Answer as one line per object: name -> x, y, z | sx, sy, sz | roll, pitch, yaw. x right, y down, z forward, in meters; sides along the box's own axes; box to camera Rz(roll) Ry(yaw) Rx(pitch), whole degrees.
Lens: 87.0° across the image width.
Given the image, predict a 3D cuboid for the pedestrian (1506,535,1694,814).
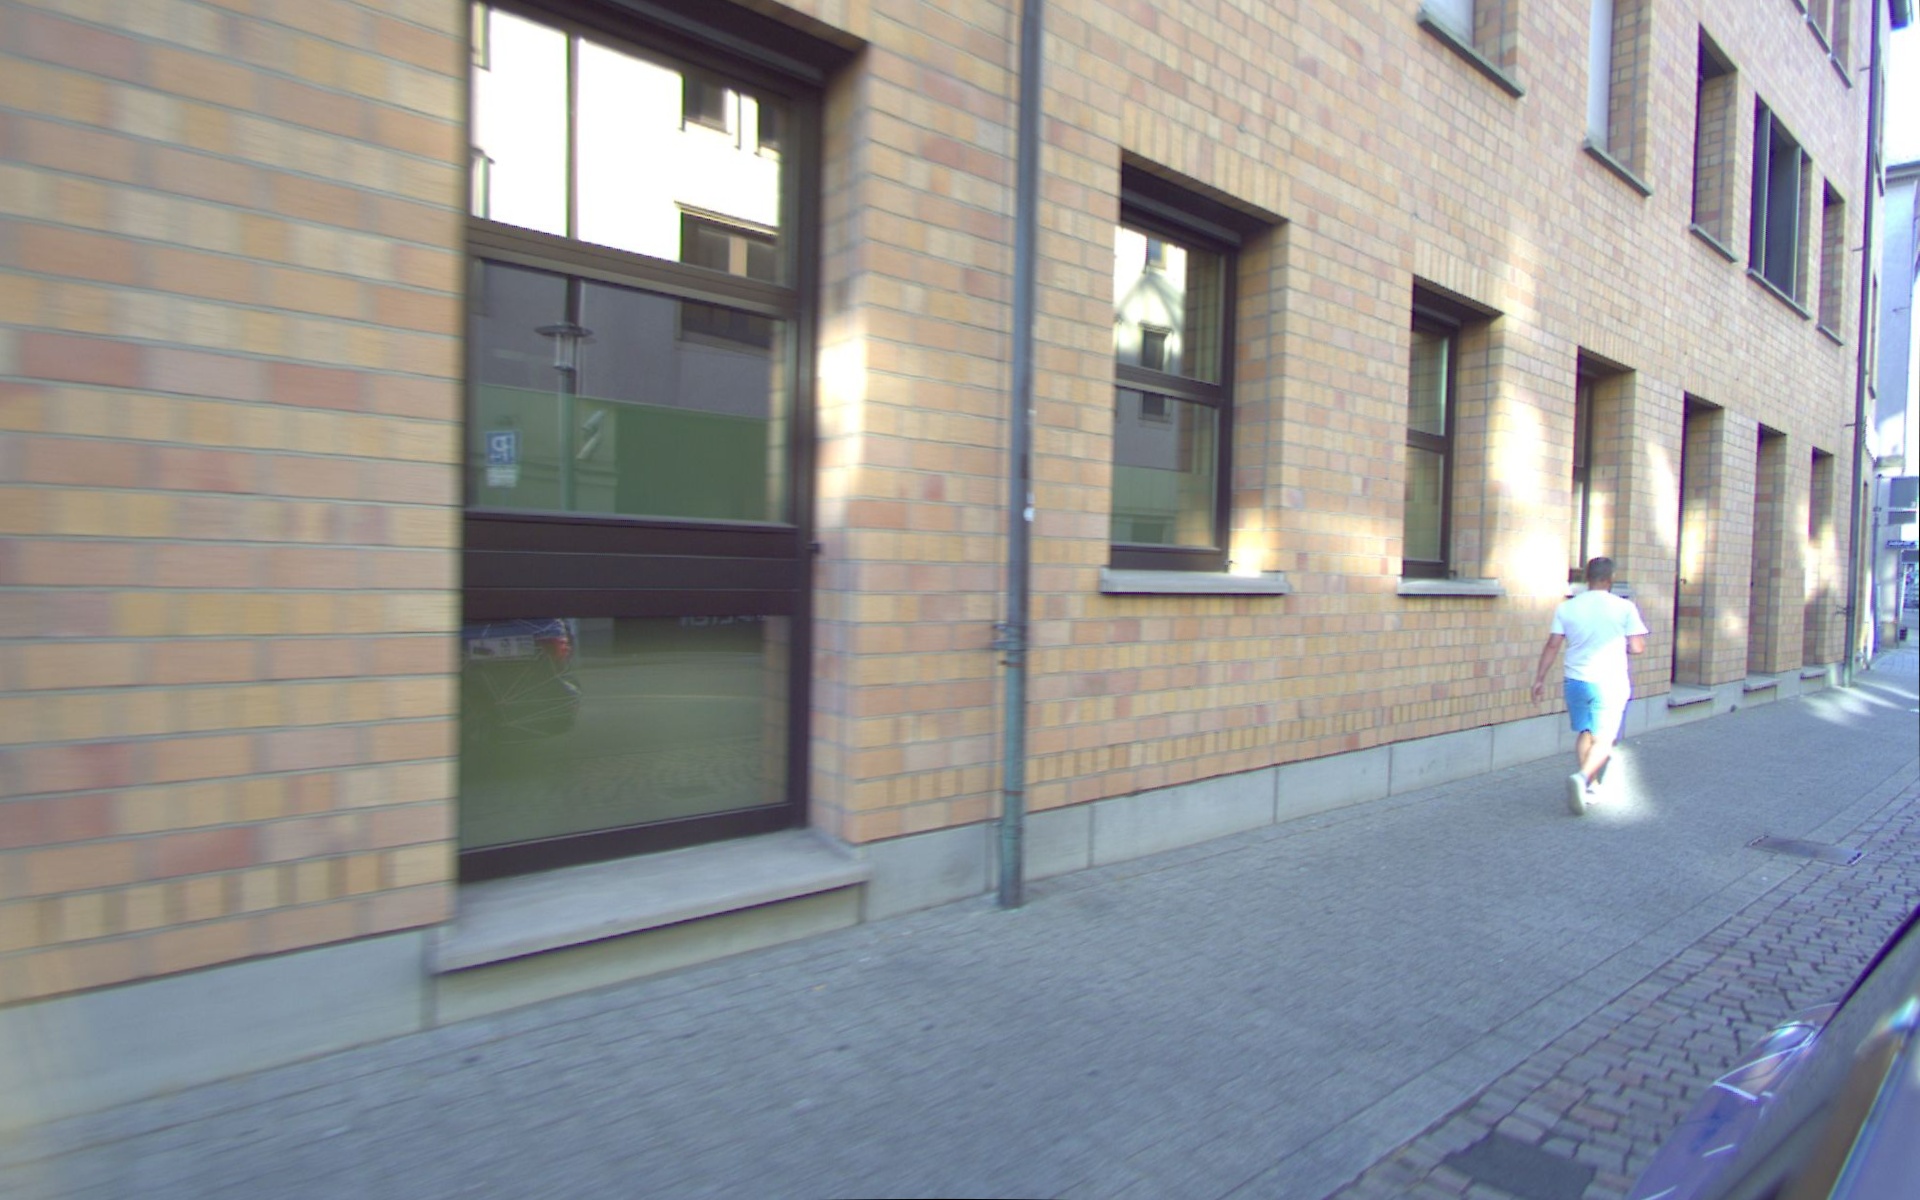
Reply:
pedestrian -> 4.355, 0.454, 6.897 | 0.807, 1.737, 0.762 | 0, 4, -39
